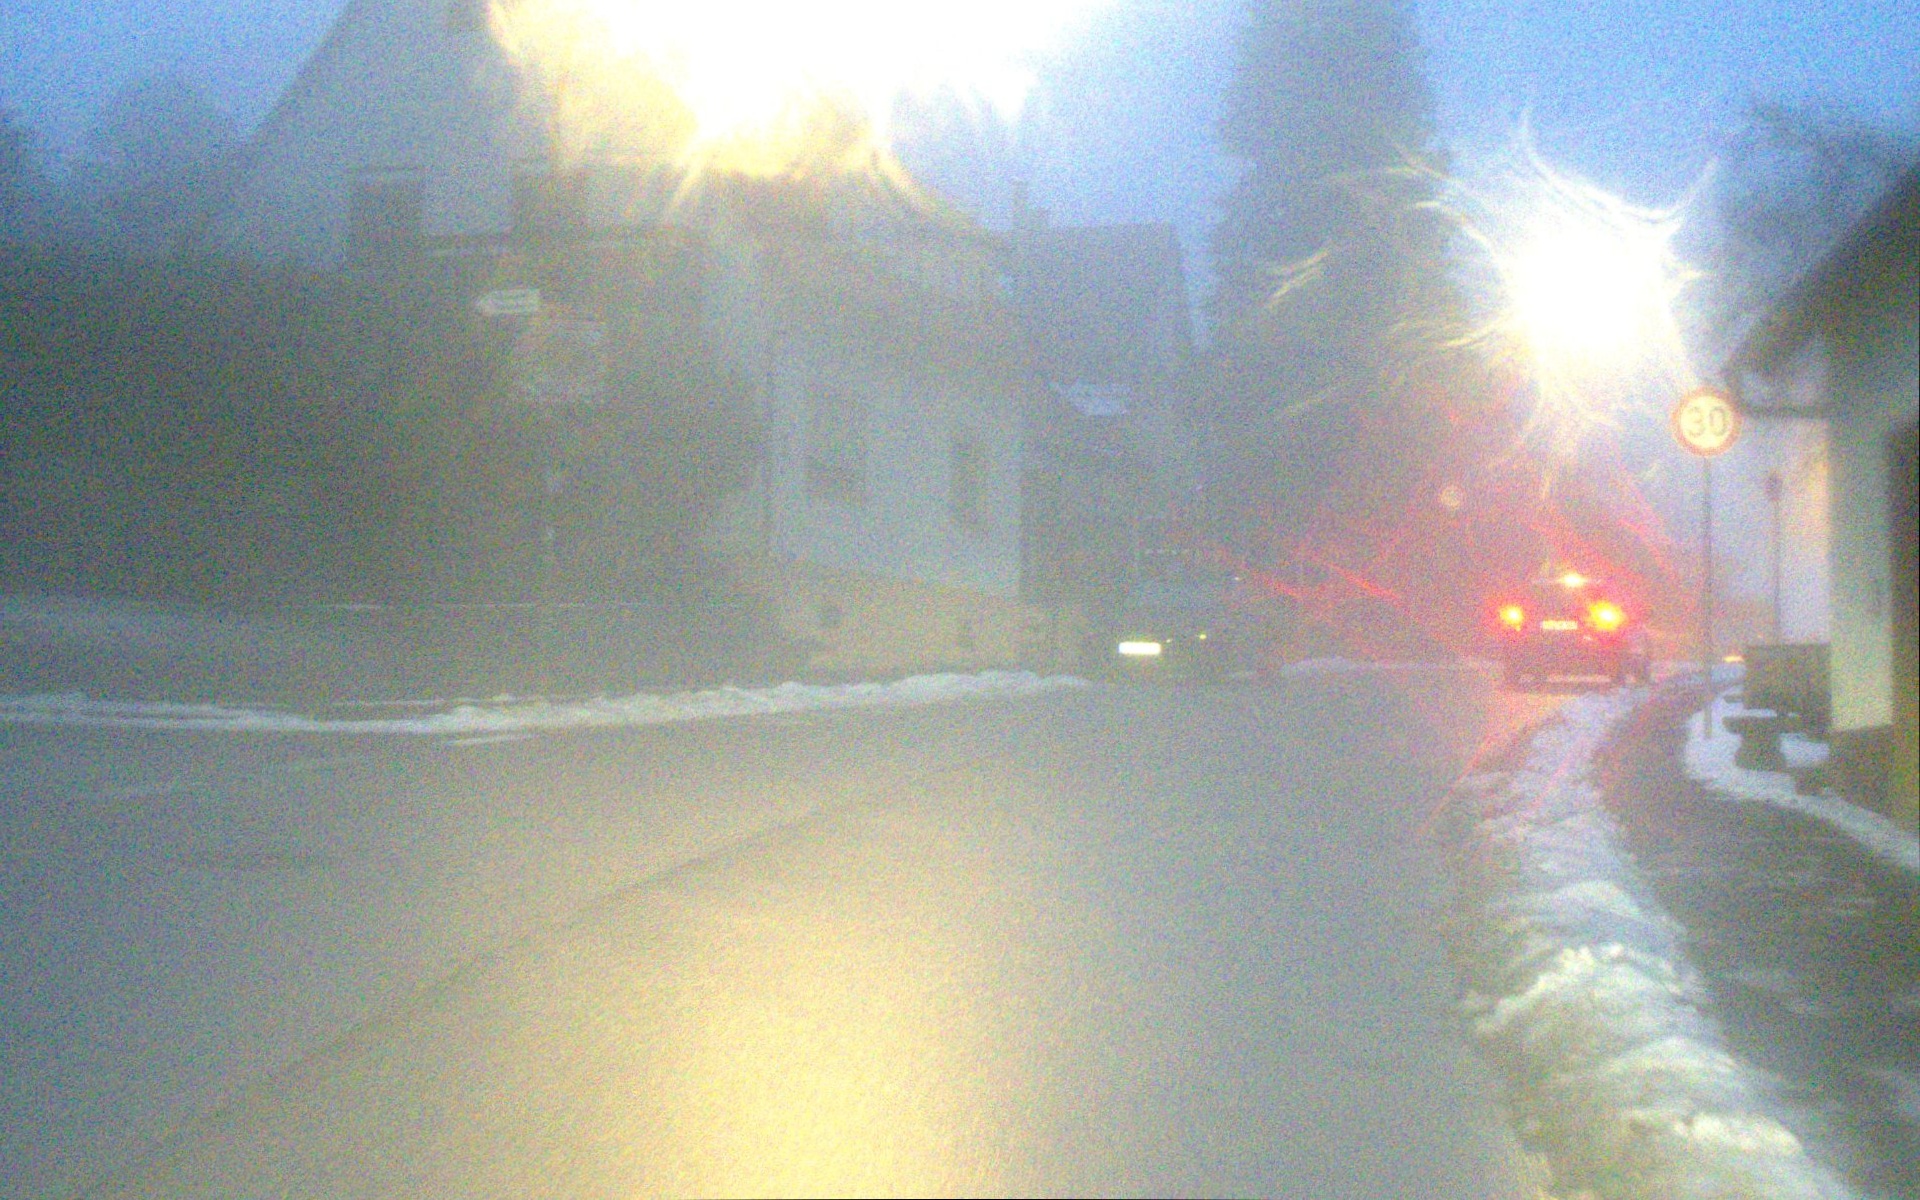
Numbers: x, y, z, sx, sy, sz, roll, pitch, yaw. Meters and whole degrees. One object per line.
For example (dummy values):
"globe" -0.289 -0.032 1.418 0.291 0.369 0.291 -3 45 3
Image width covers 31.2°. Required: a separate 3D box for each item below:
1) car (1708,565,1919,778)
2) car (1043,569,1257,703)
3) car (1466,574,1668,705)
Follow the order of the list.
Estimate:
"car" 6.988 0.466 23.621 3.440 1.382 1.638 -2 -2 8
"car" 2.583 0.519 45.821 1.995 1.645 3.997 -2 -2 15
"car" 8.698 0.591 49.006 1.996 1.731 3.874 -2 -2 22
